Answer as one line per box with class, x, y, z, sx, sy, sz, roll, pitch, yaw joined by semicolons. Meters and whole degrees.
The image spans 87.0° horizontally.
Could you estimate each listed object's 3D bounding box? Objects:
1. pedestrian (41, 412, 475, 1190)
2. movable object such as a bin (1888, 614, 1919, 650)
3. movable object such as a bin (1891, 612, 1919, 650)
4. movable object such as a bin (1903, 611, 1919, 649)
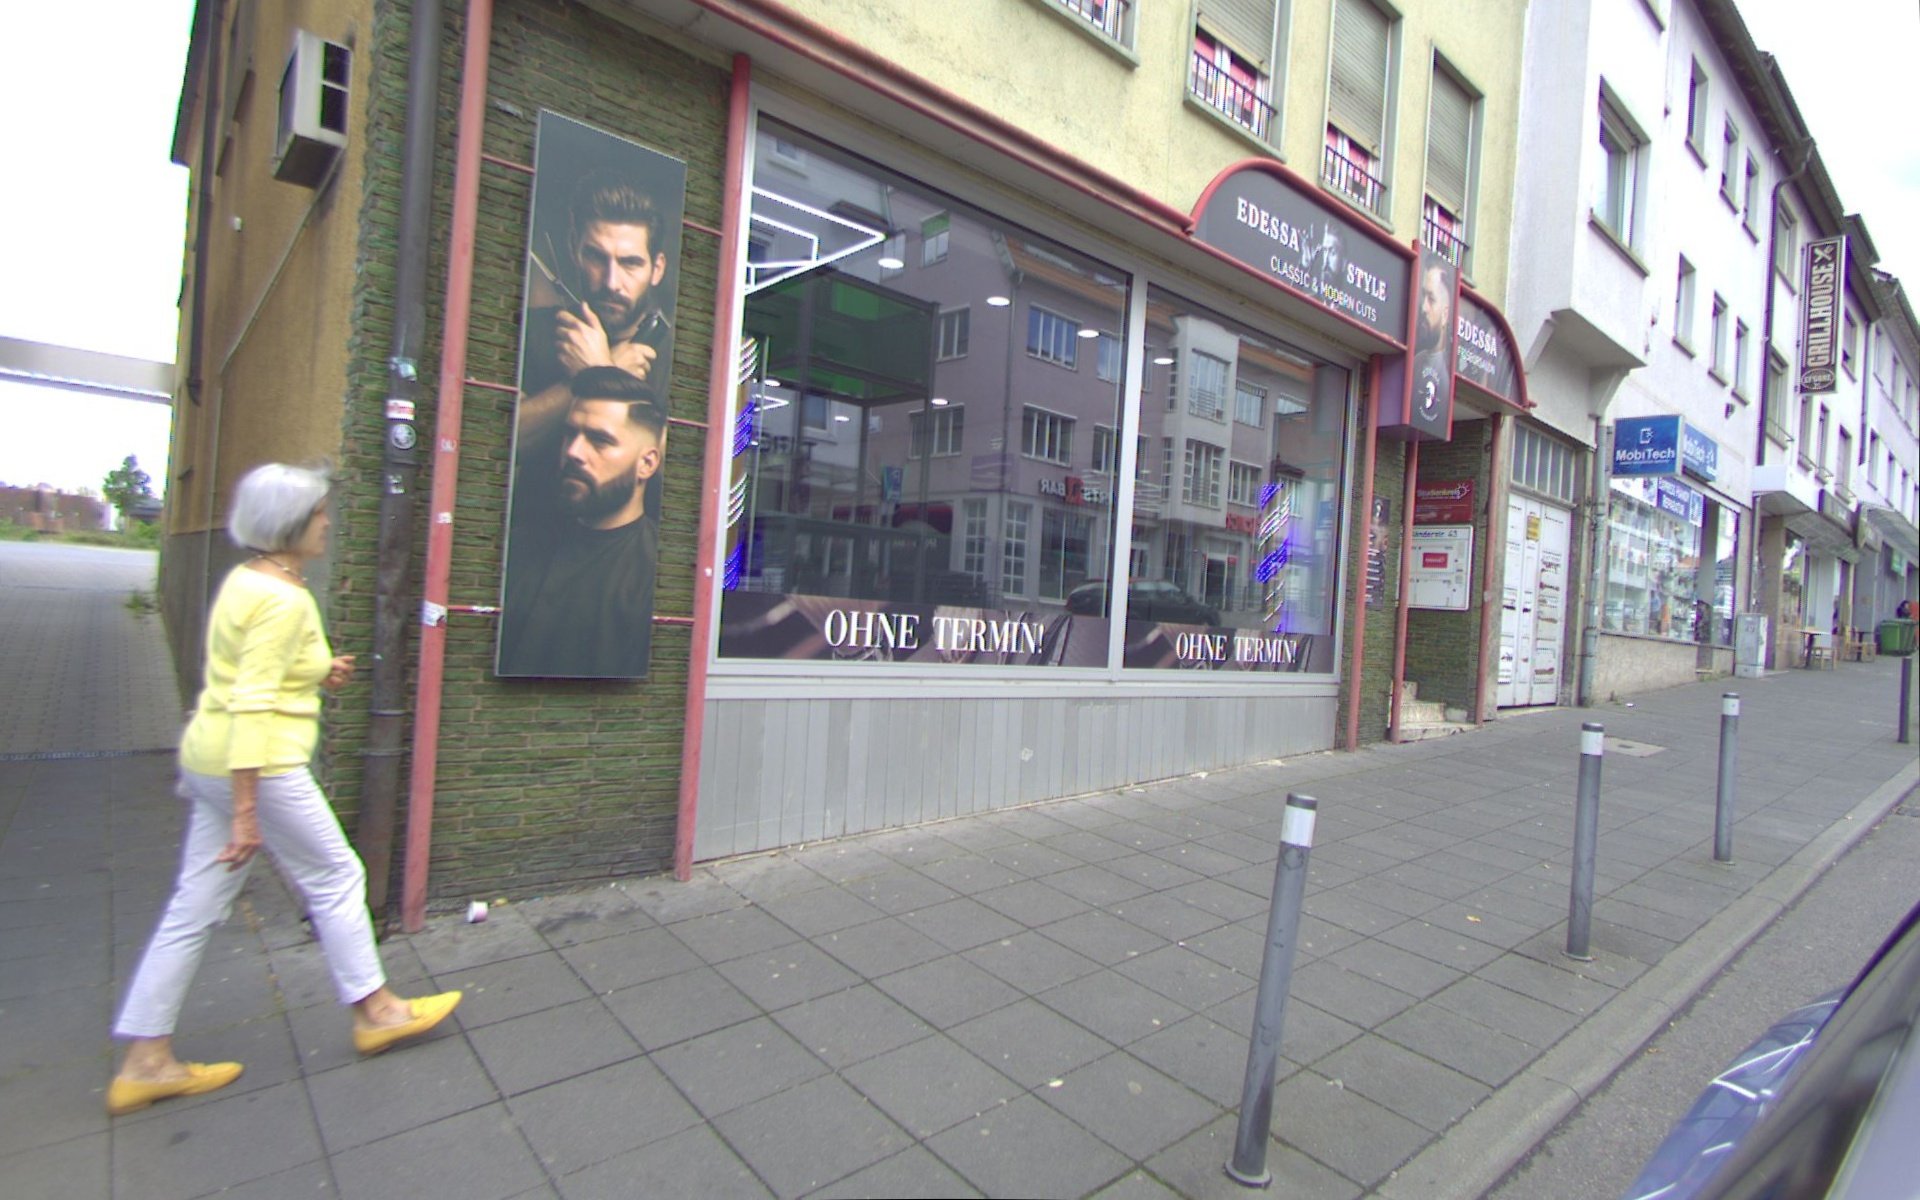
pedestrian;-1.841;0.410;2.665;0.820;1.651;0.713;1;3;-41
movable object such as a bin;27.118;0.915;29.097;0.490;0.968;0.568;1;1;-41
movable object such as a bin;27.603;0.900;29.457;0.550;1.043;0.670;1;1;-41
movable object such as a bin;28.257;0.877;29.785;0.661;1.094;0.652;1;1;-41
